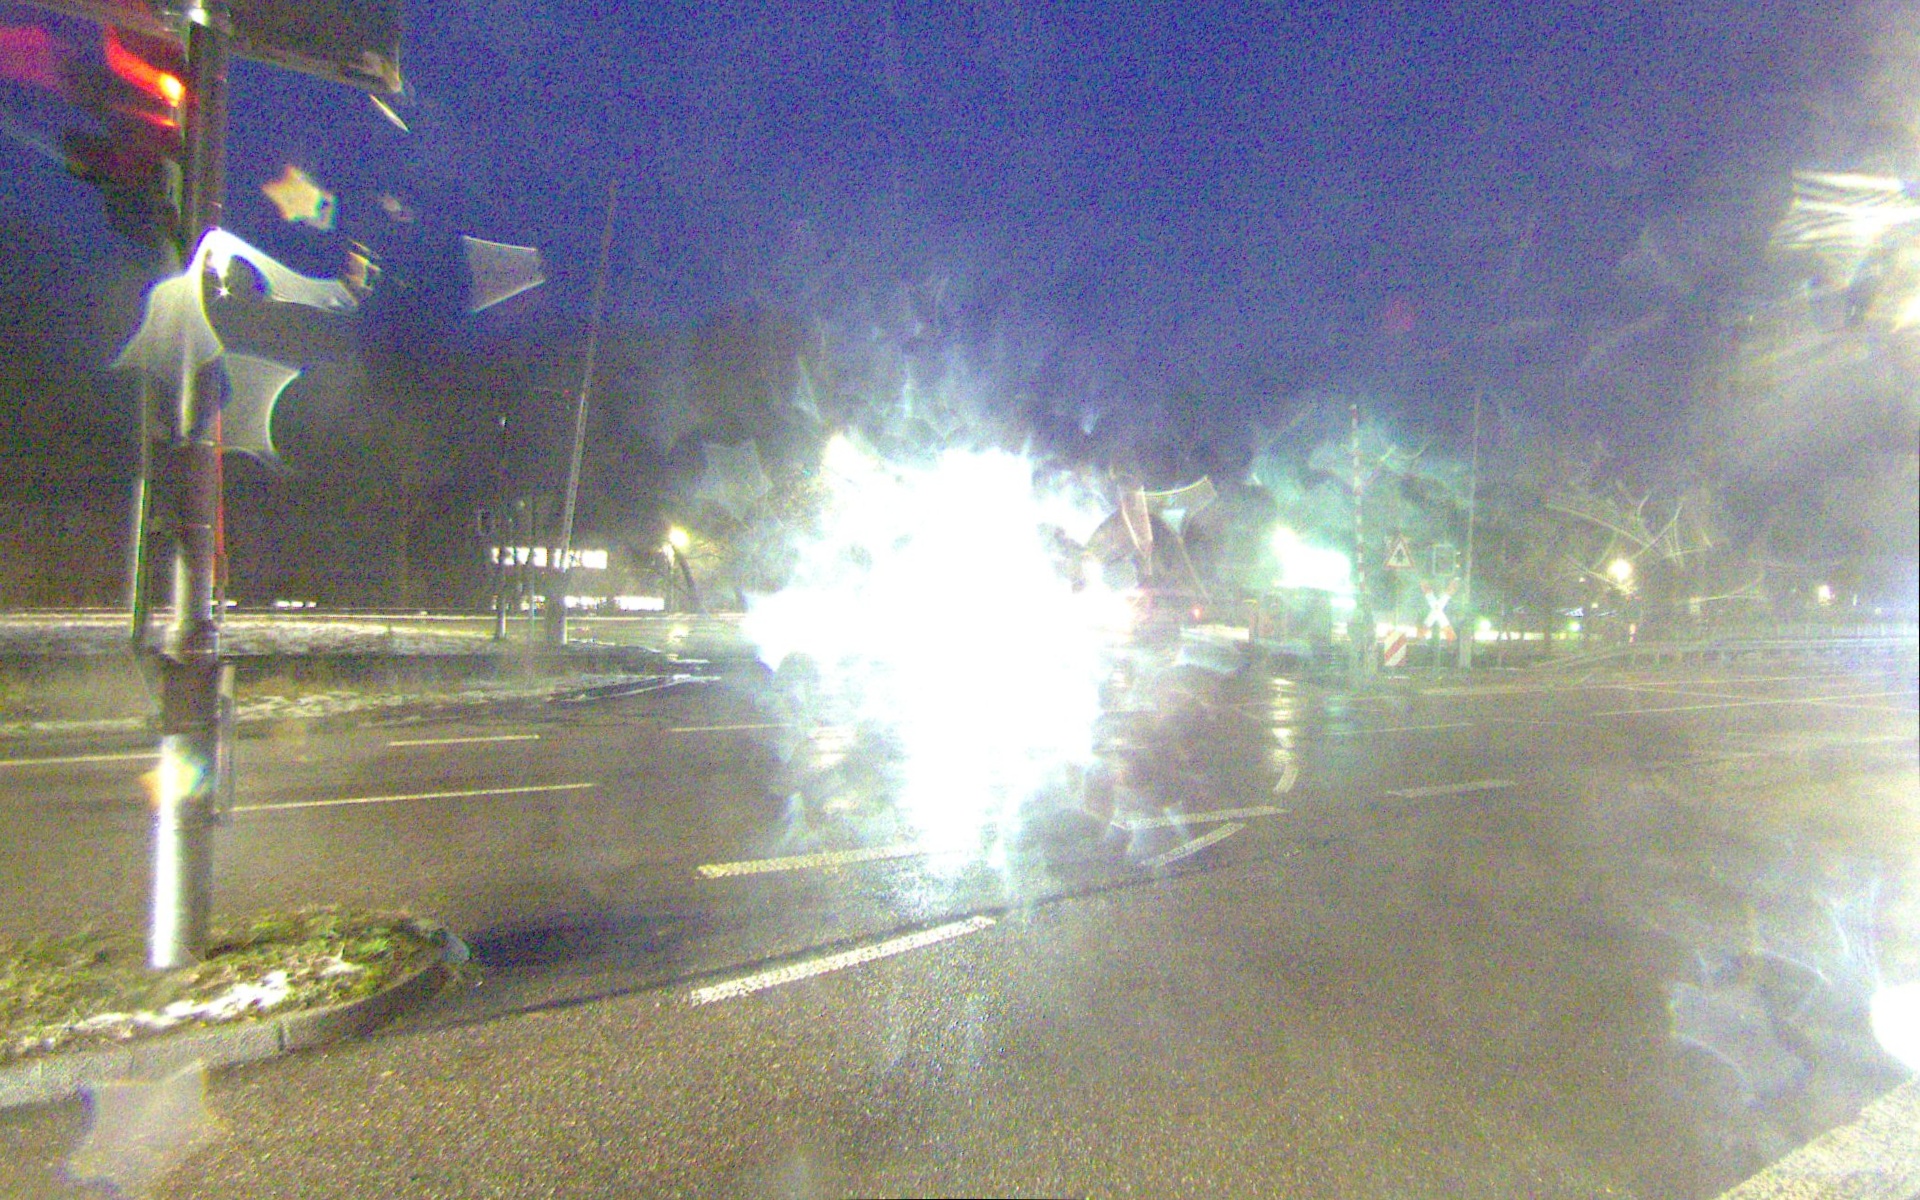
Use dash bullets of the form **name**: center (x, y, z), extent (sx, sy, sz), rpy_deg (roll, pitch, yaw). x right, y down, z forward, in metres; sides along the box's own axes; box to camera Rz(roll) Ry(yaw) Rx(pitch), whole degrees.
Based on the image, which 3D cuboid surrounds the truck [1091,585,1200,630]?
- **truck**: center (10.269, 0.436, 55.361), extent (5.945, 2.302, 1.985), rpy_deg (2, 0, -28)

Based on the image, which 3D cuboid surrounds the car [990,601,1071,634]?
- **car**: center (3.544, 0.860, 50.003), extent (3.968, 1.539, 1.707), rpy_deg (2, 0, -41)

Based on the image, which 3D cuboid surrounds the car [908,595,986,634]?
- **car**: center (-0.519, 0.617, 43.782), extent (1.695, 1.539, 3.995), rpy_deg (2, 0, 27)
